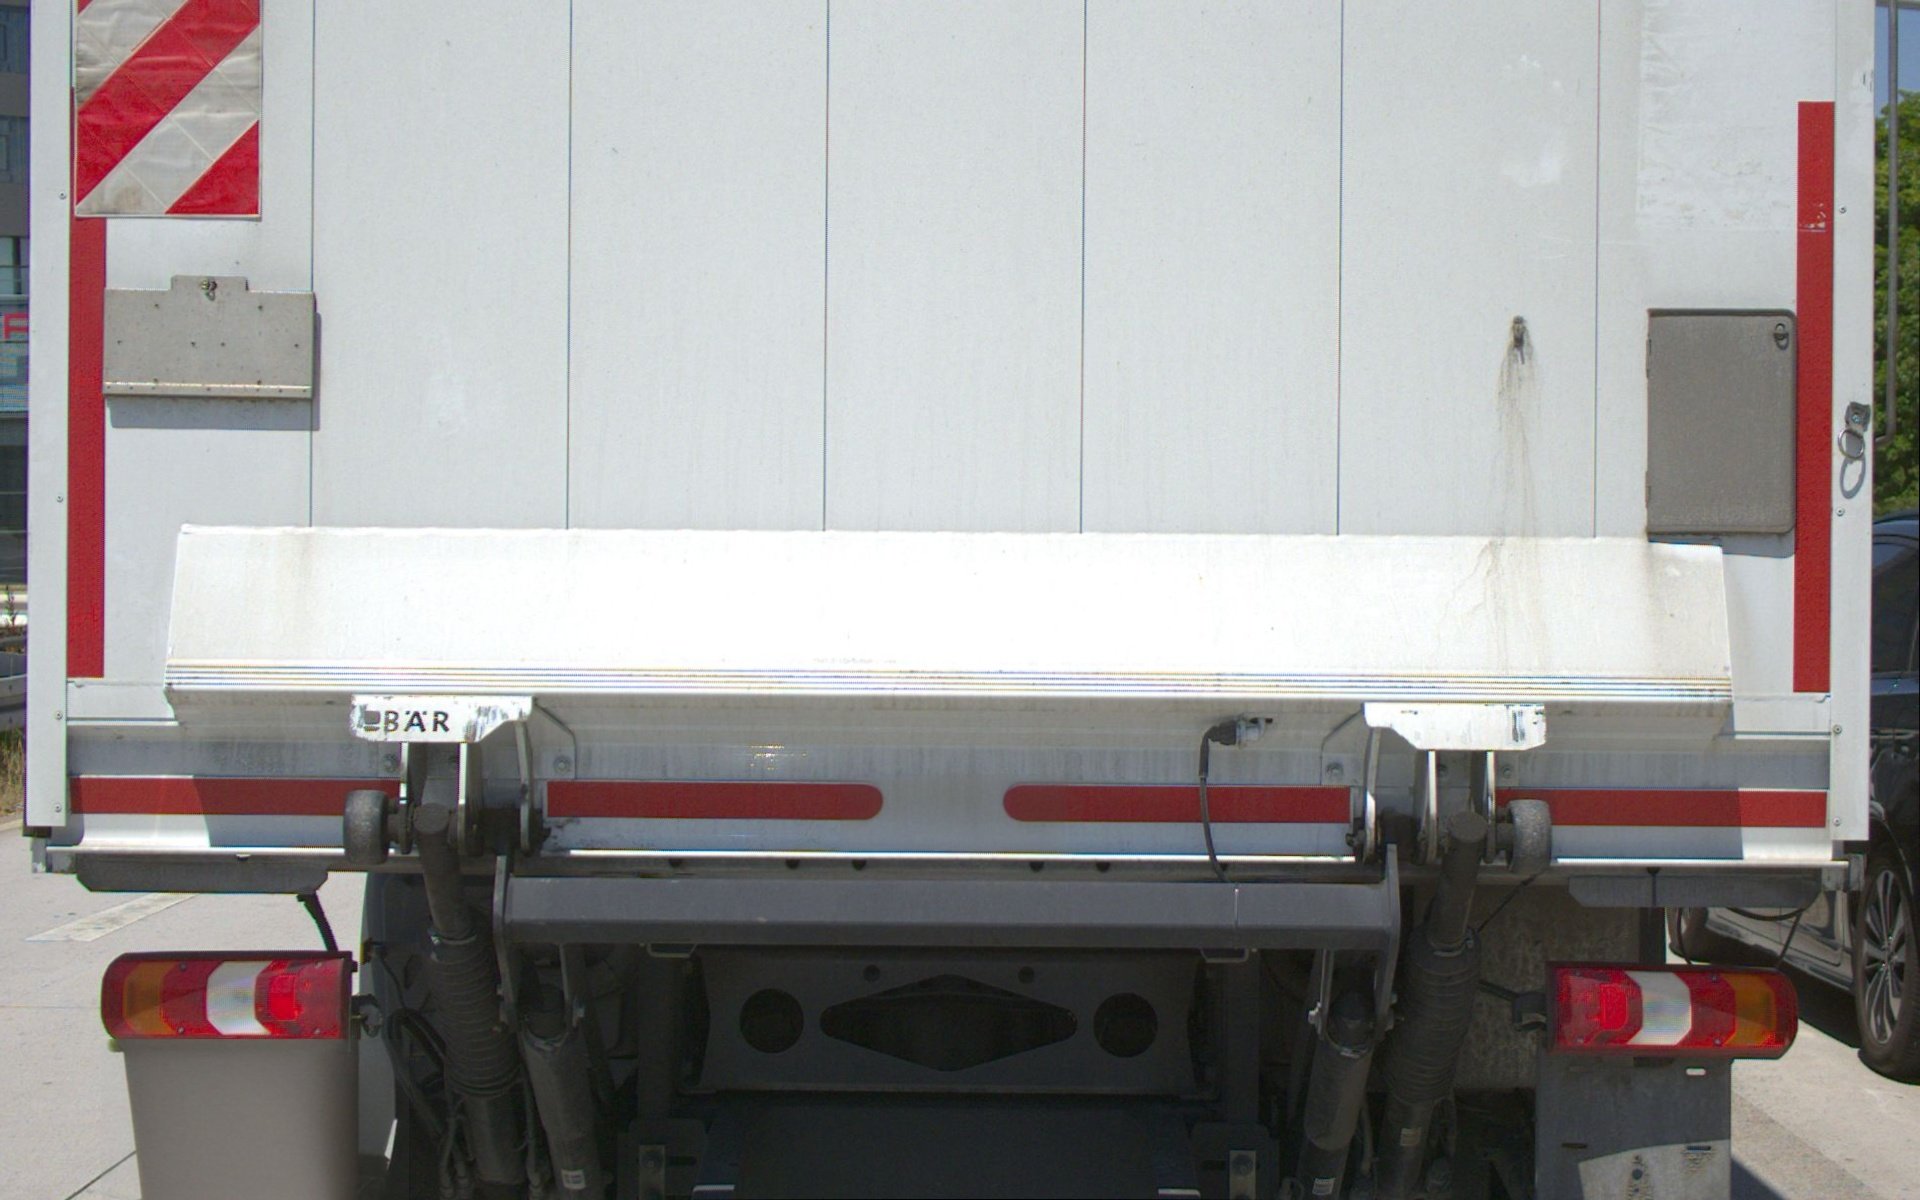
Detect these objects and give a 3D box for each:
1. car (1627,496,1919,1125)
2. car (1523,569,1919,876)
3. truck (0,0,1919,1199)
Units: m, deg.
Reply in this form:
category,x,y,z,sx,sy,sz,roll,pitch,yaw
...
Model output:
category,x,y,z,sx,sy,sz,roll,pitch,yaw
car,3.452,0.537,11.099,1.784,1.634,4.647,1,1,1
car,4.181,0.551,18.270,1.768,1.405,4.609,1,1,2
truck,-0.012,-0.555,9.184,2.769,3.846,9.371,1,1,-1
